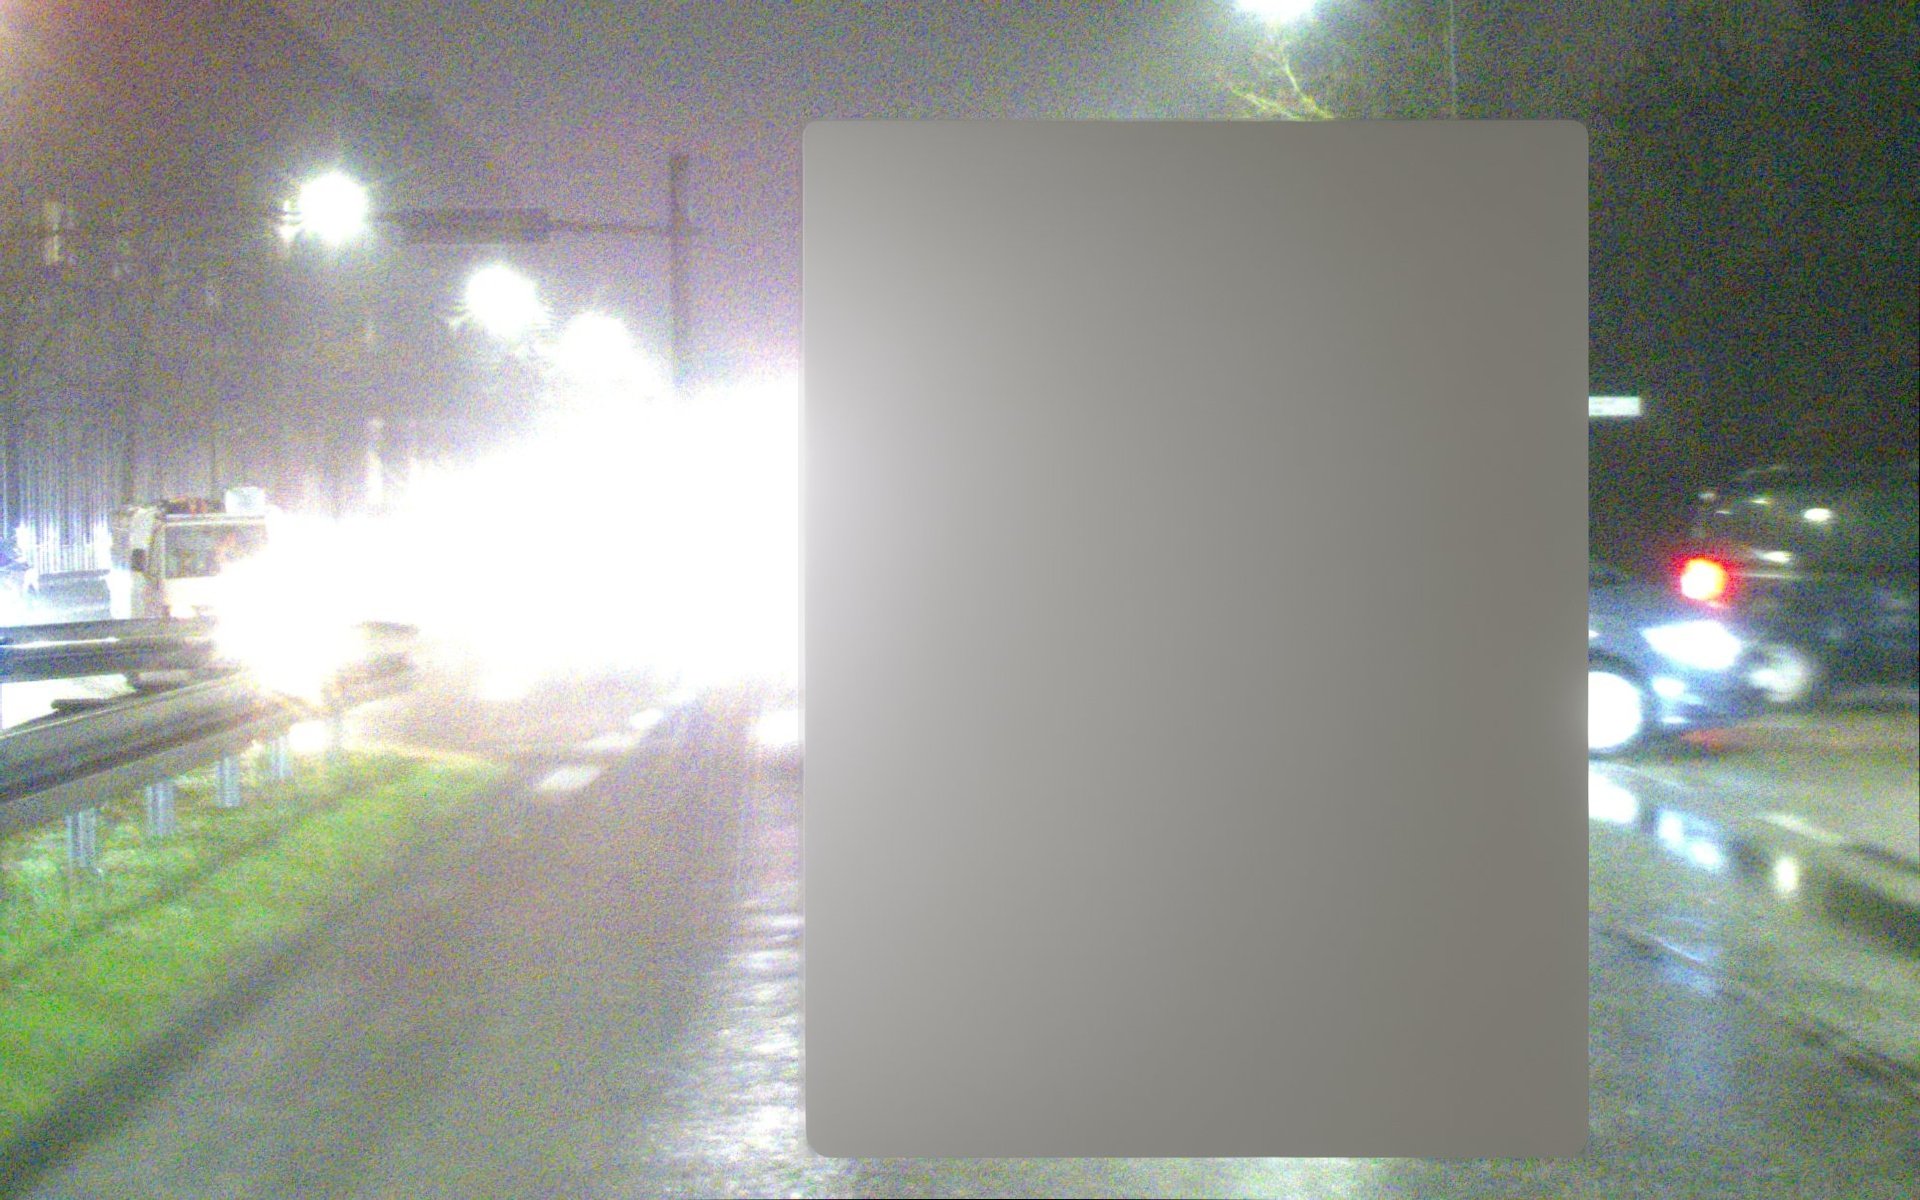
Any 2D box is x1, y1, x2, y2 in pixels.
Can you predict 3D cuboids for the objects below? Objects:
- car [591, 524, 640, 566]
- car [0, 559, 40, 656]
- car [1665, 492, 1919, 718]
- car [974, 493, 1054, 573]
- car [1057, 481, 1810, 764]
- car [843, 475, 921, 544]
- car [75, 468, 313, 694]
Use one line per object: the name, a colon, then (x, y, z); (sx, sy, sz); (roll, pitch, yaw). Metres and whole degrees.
car: (-14.712, -2.334, 146.800); (1.749, 1.703, 4.499); (-2, 1, -2)
car: (-15.319, 0.107, 51.933); (1.824, 1.459, 4.000); (0, 0, -1)
car: (7.610, 0.034, 25.231); (4.504, 1.612, 1.906); (0, 0, 22)
car: (1.405, -1.722, 89.398); (2.038, 2.007, 4.307); (0, 0, 1)
car: (3.036, 0.115, 22.190); (4.409, 1.667, 1.956); (0, 0, 28)
car: (-2.649, -3.002, 115.182); (2.441, 2.186, 5.079); (0, 0, -3)
car: (-7.273, -0.180, 32.434); (1.698, 2.007, 3.569); (0, 0, -21)
